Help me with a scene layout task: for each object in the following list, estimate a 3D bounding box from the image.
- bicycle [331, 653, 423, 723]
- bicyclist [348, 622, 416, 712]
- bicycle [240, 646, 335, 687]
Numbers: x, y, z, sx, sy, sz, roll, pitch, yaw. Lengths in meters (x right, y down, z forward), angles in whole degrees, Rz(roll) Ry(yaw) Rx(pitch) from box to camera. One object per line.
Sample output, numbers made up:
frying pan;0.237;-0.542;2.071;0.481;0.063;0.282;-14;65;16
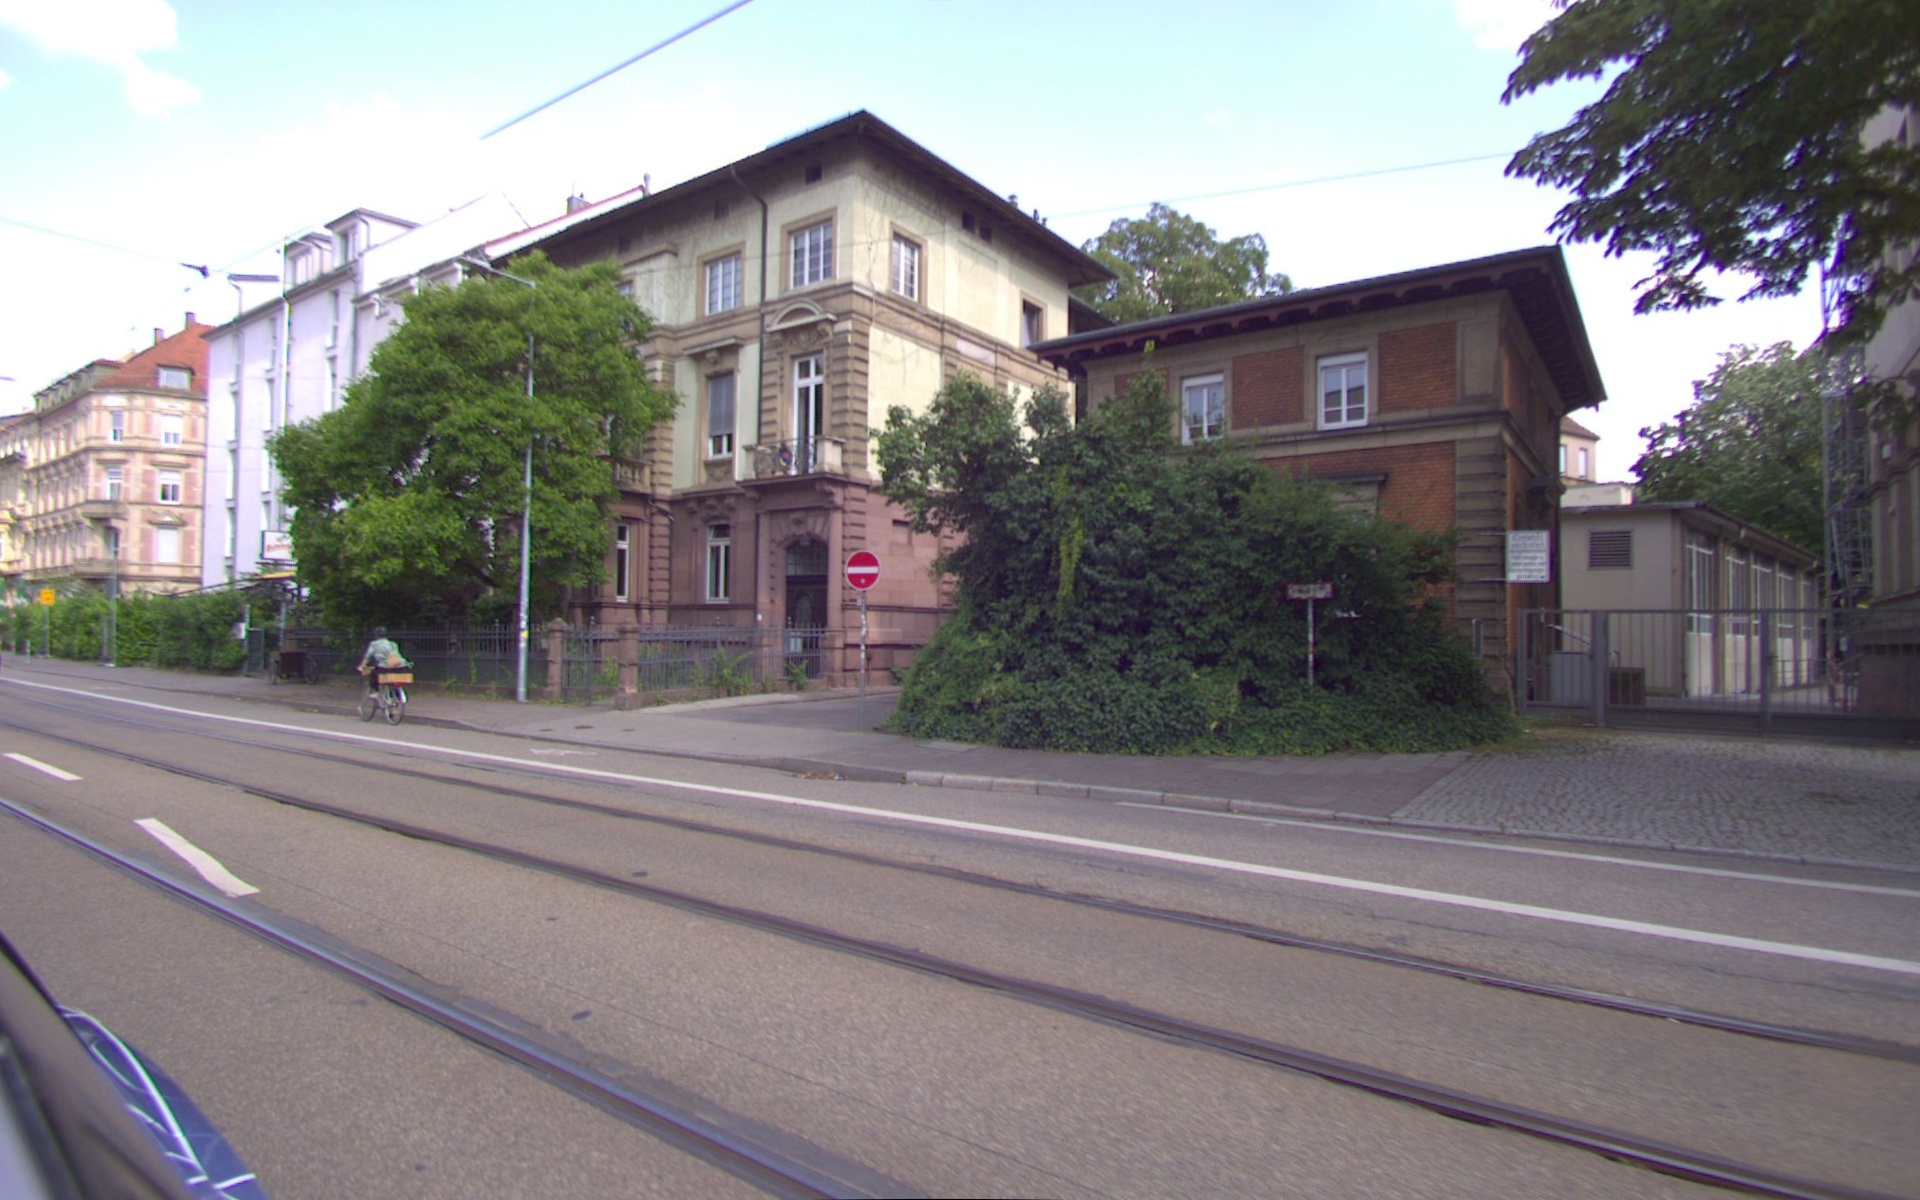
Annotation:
bicycle;-10.175;1.521;17.636;2.020;1.105;0.596;-2;-9;39
bicyclist;-10.042;1.164;17.584;0.881;1.504;0.593;-2;-9;39
bicycle;-17.639;1.702;26.515;2.983;0.915;1.132;-1;0;37
